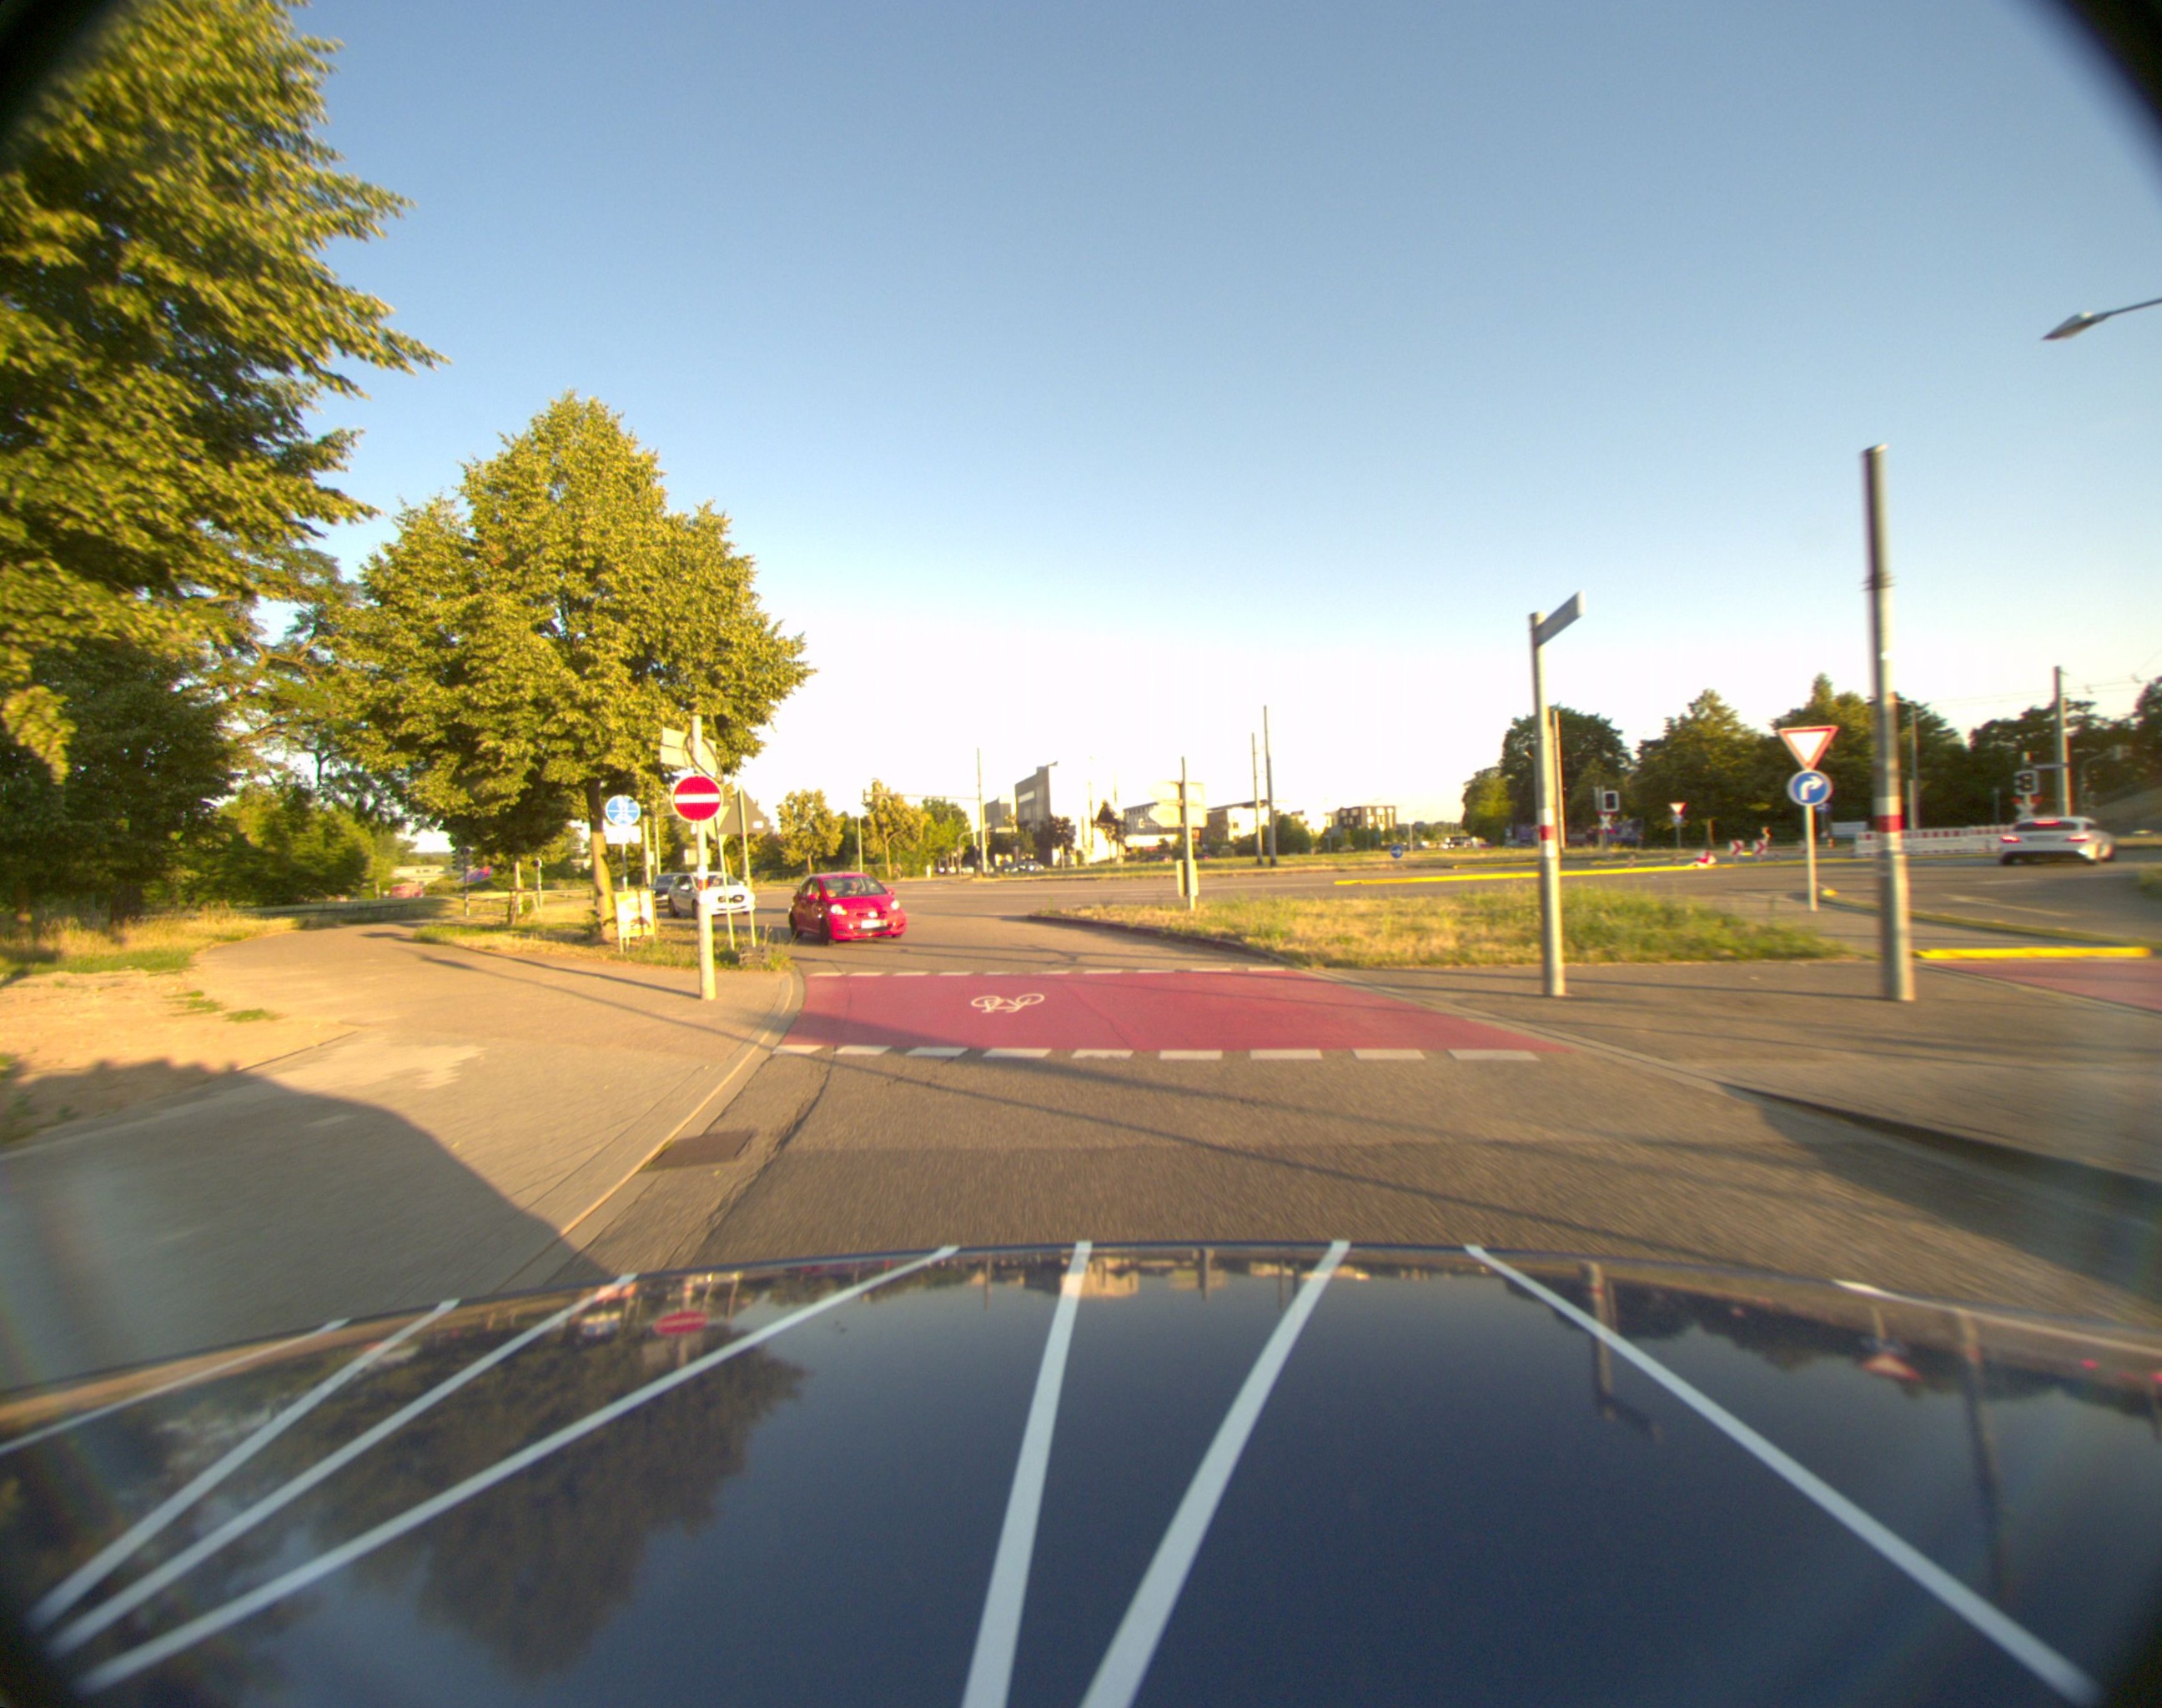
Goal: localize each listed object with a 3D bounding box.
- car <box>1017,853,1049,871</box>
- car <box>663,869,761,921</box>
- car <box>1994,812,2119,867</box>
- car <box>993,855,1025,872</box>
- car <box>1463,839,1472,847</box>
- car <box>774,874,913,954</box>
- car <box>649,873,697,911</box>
[{"bbox_3d":[-3.807,0.618,59.268,1.621,1.262,3.808,-3,0,-17],"label":"car"},{"bbox_3d":[-12.970,1.405,26.555,1.794,1.548,4.398,-4,1,-43],"label":"car"},{"bbox_3d":[29.447,-0.454,22.927,4.005,1.455,1.628,-3,1,-28],"label":"car"},{"bbox_3d":[-5.573,0.713,58.524,1.621,1.243,3.808,-3,0,-17],"label":"car"},{"bbox_3d":[99.186,-2.804,195.119,1.995,2.002,4.006,-2,1,26],"label":"car"},{"bbox_3d":[-5.376,1.208,16.805,1.622,1.405,4.400,-4,1,-34],"label":"car"},{"bbox_3d":[-19.110,1.712,35.512,1.793,1.548,4.400,-4,1,-30],"label":"car"}]
